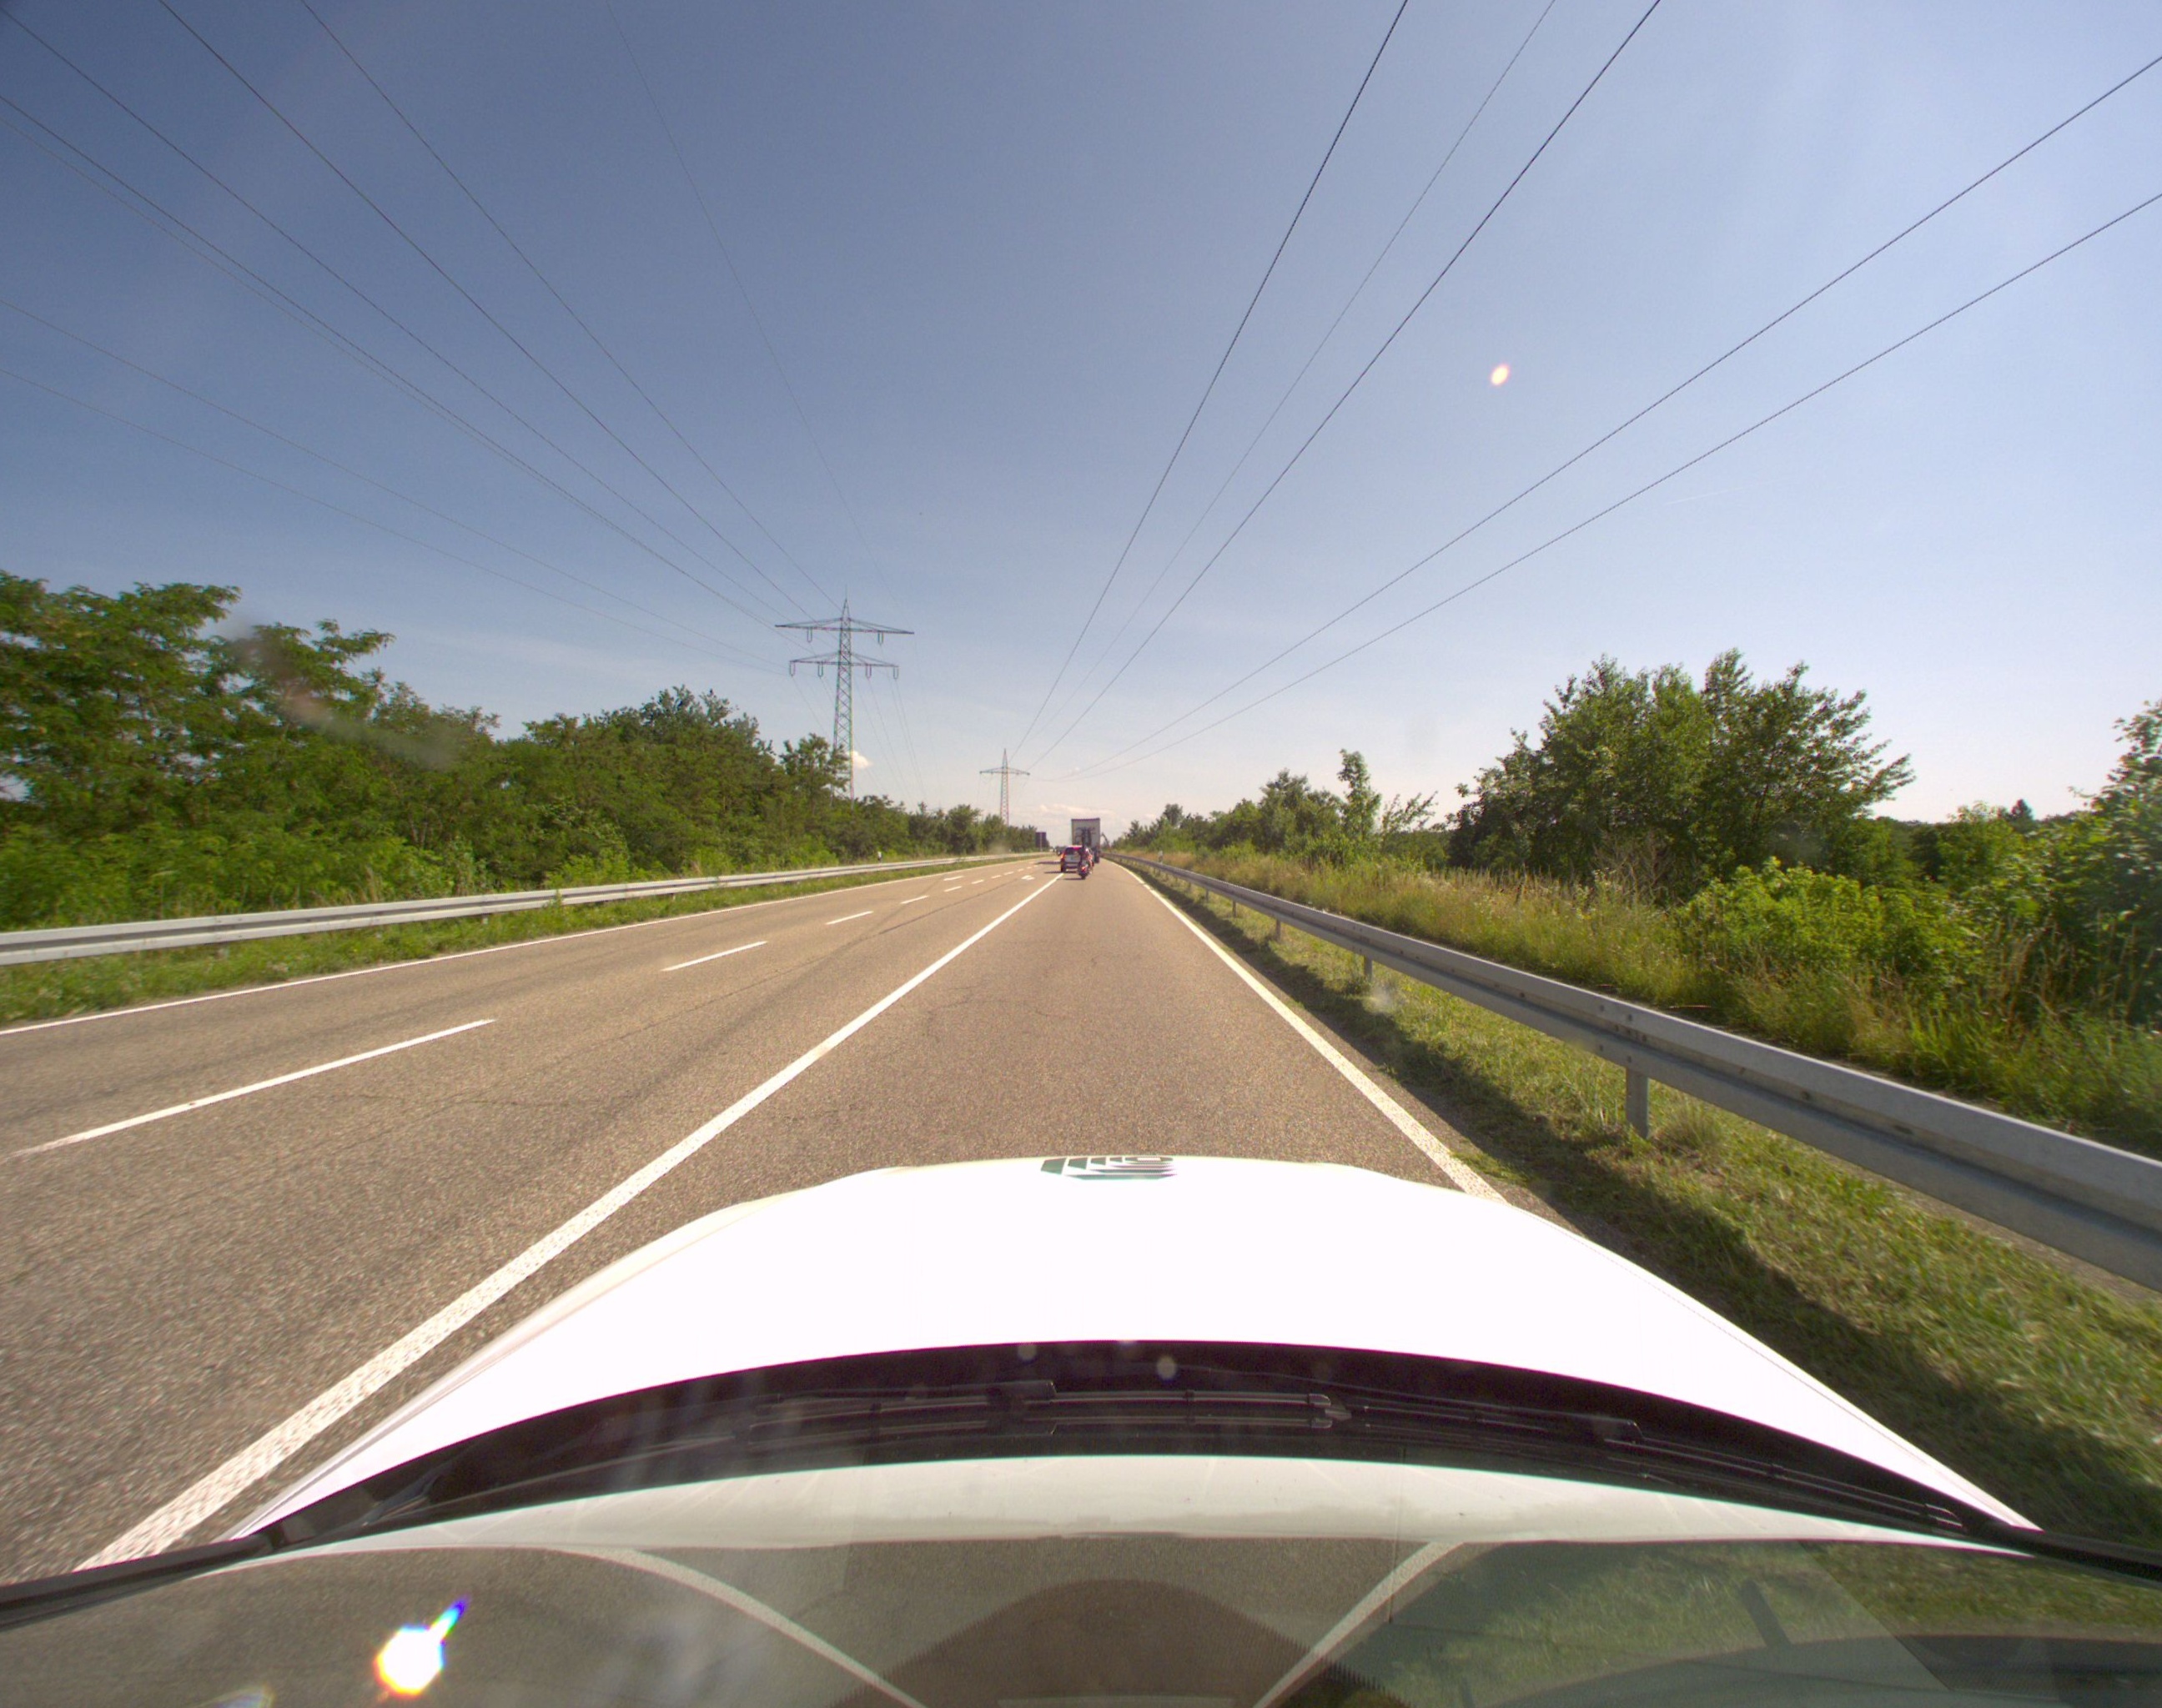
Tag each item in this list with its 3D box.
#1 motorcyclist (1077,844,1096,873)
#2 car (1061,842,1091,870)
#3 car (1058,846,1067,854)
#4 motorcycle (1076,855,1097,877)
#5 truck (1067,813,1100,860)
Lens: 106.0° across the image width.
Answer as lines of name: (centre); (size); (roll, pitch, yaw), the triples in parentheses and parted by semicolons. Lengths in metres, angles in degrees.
motorcyclist: (0.239, 0.196, 37.414); (0.835, 1.280, 0.918); (0, 0, -2)
car: (-0.282, 0.102, 47.345); (1.695, 1.536, 3.499); (0, 0, 0)
car: (-3.843, -0.830, 172.236); (1.722, 1.491, 4.422); (0, 1, 0)
motorcycle: (0.247, 0.533, 37.328); (0.856, 0.915, 2.226); (0, 0, -2)
truck: (0.369, -1.597, 79.726); (2.957, 4.186, 14.825); (0, 1, 1)
